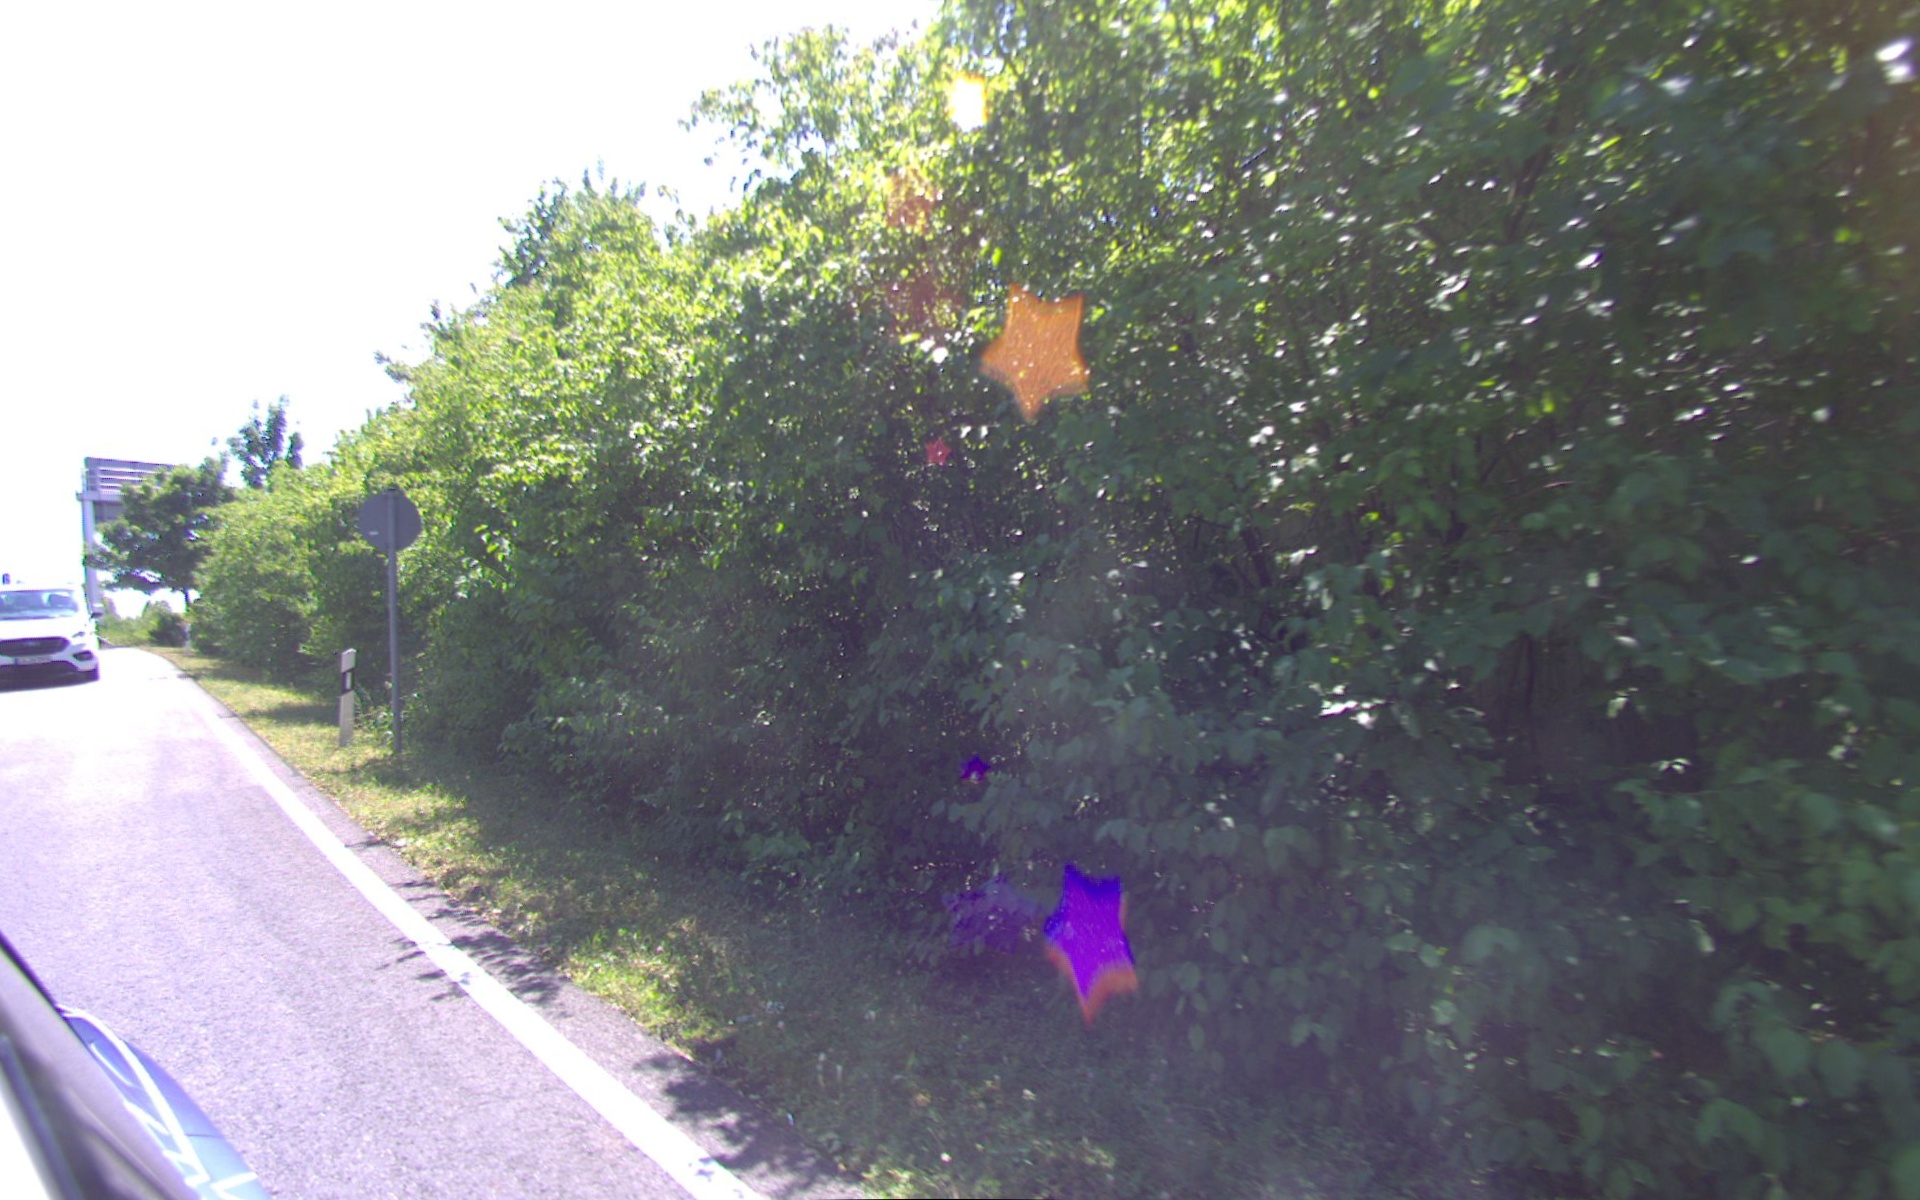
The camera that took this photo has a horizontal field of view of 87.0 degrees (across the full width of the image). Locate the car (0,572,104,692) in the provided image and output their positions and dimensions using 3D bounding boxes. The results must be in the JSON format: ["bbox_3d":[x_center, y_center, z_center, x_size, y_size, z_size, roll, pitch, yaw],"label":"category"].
[{"bbox_3d":[-18.926,0.649,20.681,2.001,2.100,5.880,-4,1,-41],"label":"car"}]
